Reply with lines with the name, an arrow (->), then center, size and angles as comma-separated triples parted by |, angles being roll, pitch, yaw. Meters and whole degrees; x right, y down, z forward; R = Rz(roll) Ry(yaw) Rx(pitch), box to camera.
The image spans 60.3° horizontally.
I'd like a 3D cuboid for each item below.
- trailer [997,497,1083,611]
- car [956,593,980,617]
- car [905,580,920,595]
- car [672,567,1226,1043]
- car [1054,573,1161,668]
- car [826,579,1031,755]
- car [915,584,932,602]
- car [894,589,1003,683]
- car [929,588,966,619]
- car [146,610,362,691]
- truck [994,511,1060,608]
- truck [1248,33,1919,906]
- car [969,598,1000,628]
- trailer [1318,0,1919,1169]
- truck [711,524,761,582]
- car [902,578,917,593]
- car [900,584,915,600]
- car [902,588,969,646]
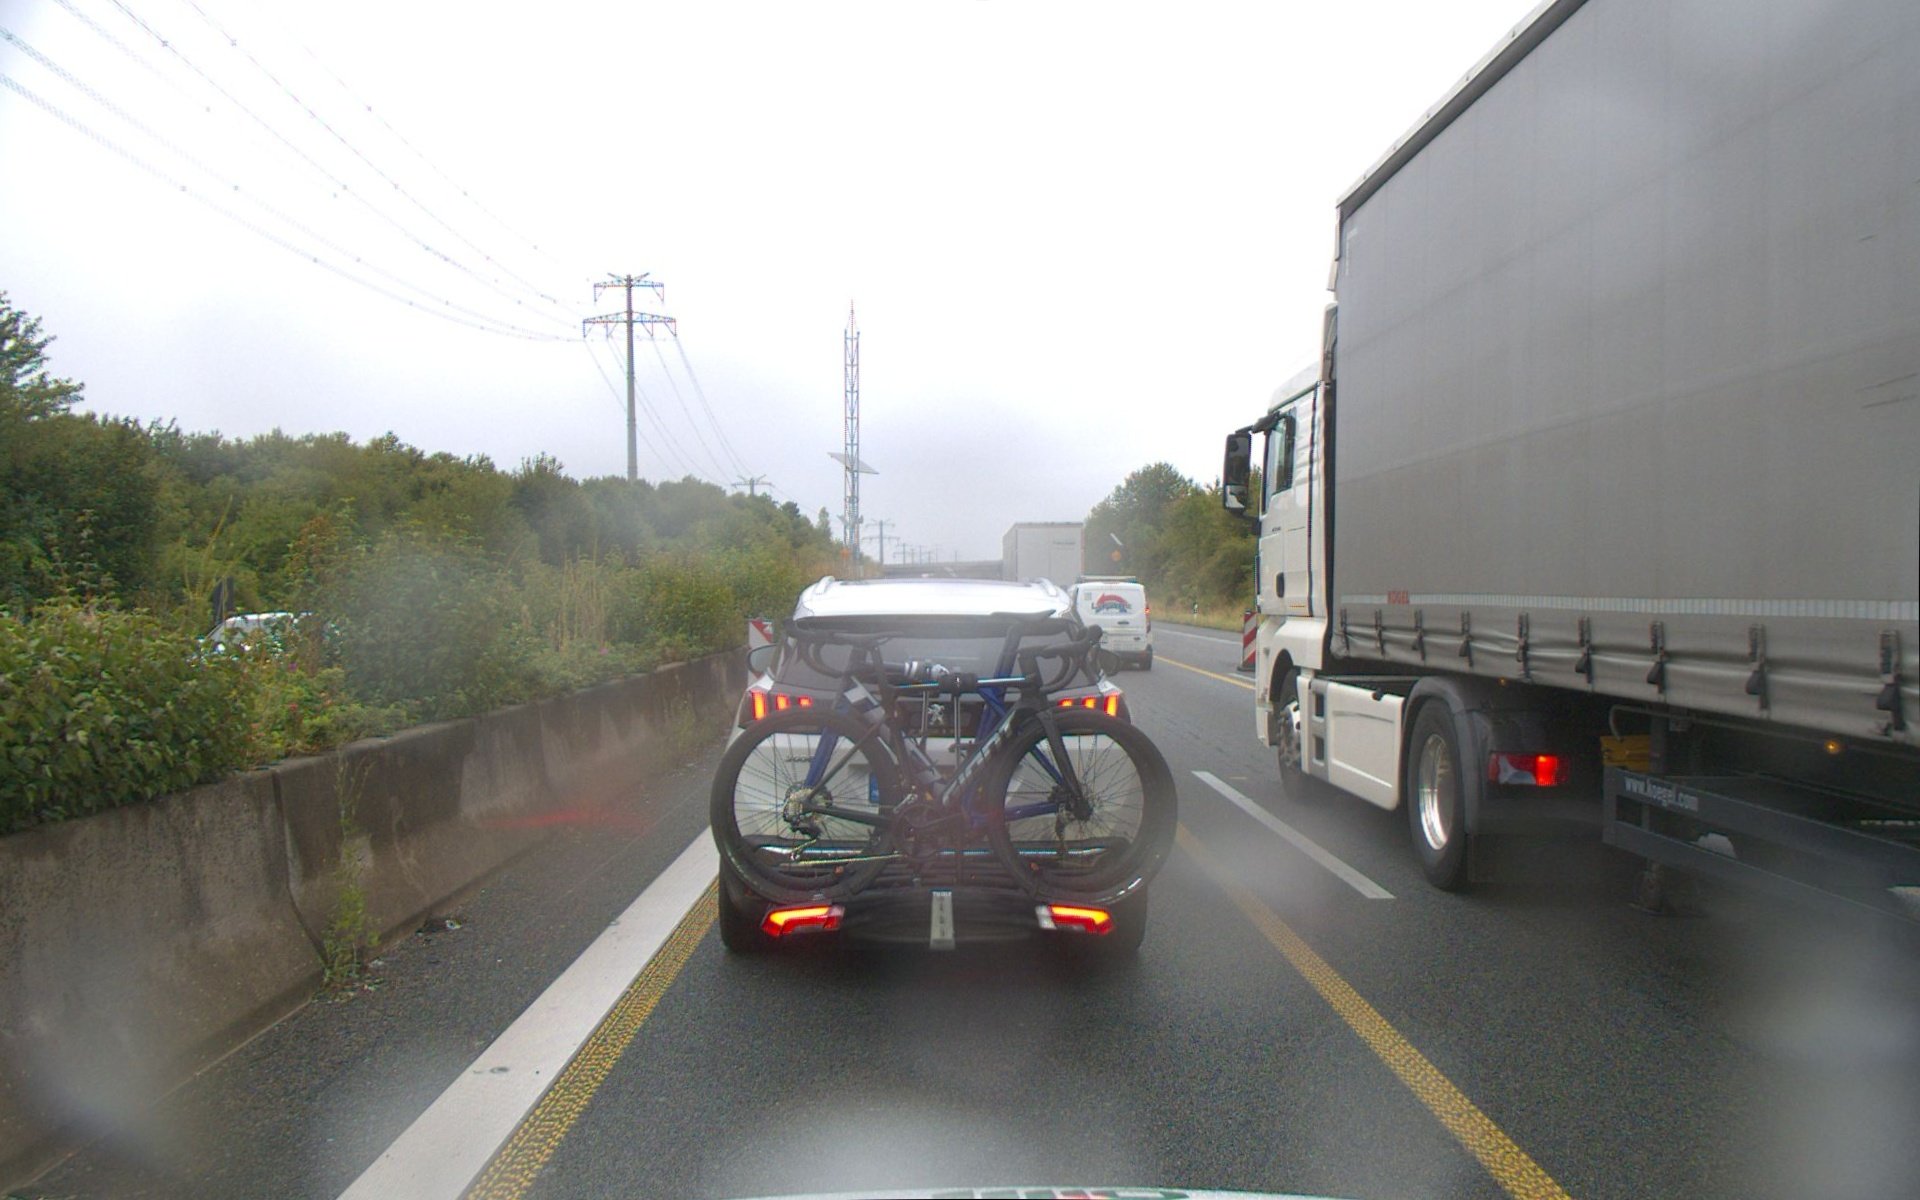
trailer -> 3.064, -1.694, 67.050 | 2.638, 4.148, 13.631 | 0, 0, -1
car -> 0.709, 0.435, 147.577 | 2.104, 2.008, 4.000 | 0, 1, -1
car -> -6.125, -1.645, 215.532 | 1.892, 1.944, 4.000 | 0, 1, -1
car -> -0.065, 0.663, 7.811 | 1.812, 1.557, 4.768 | 0, 0, -1
car -> 3.061, 0.400, 35.133 | 1.792, 1.871, 4.654 | 0, 0, -1
car -> -0.306, 0.585, 16.725 | 1.812, 1.557, 3.999 | 0, 0, -1
car -> -4.344, -0.812, 197.273 | 1.892, 2.008, 4.000 | 0, 1, -1
car -> -0.215, 0.596, 29.677 | 1.812, 1.557, 3.999 | 0, 0, -1
car -> -0.632, 0.167, 83.373 | 1.812, 1.557, 3.999 | 0, 0, -1
car -> -11.743, 0.800, 27.830 | 1.953, 1.212, 3.999 | 0, 0, -1
truck -> 2.942, -1.752, 74.139 | 2.606, 4.148, 6.538 | 0, 0, -1
truck -> 3.753, -0.637, 10.850 | 2.651, 4.211, 5.689 | 0, 0, -1
car -> 1.738, 0.916, 116.778 | 2.067, 2.008, 4.000 | 0, 1, -1
trailer -> 3.810, -0.637, 4.177 | 2.651, 4.218, 13.729 | 0, 0, -1
truck -> -16.794, -3.475, 124.512 | 2.730, 4.093, 7.231 | -3, 0, -1
car -> -6.961, -1.983, 228.199 | 1.892, 2.008, 4.000 | 0, 1, -1
car -> -7.027, -1.049, 222.572 | 1.892, 2.008, 4.000 | 0, 1, -1
car -> -0.696, 0.437, 46.644 | 1.812, 1.557, 3.999 | 0, 0, -1
